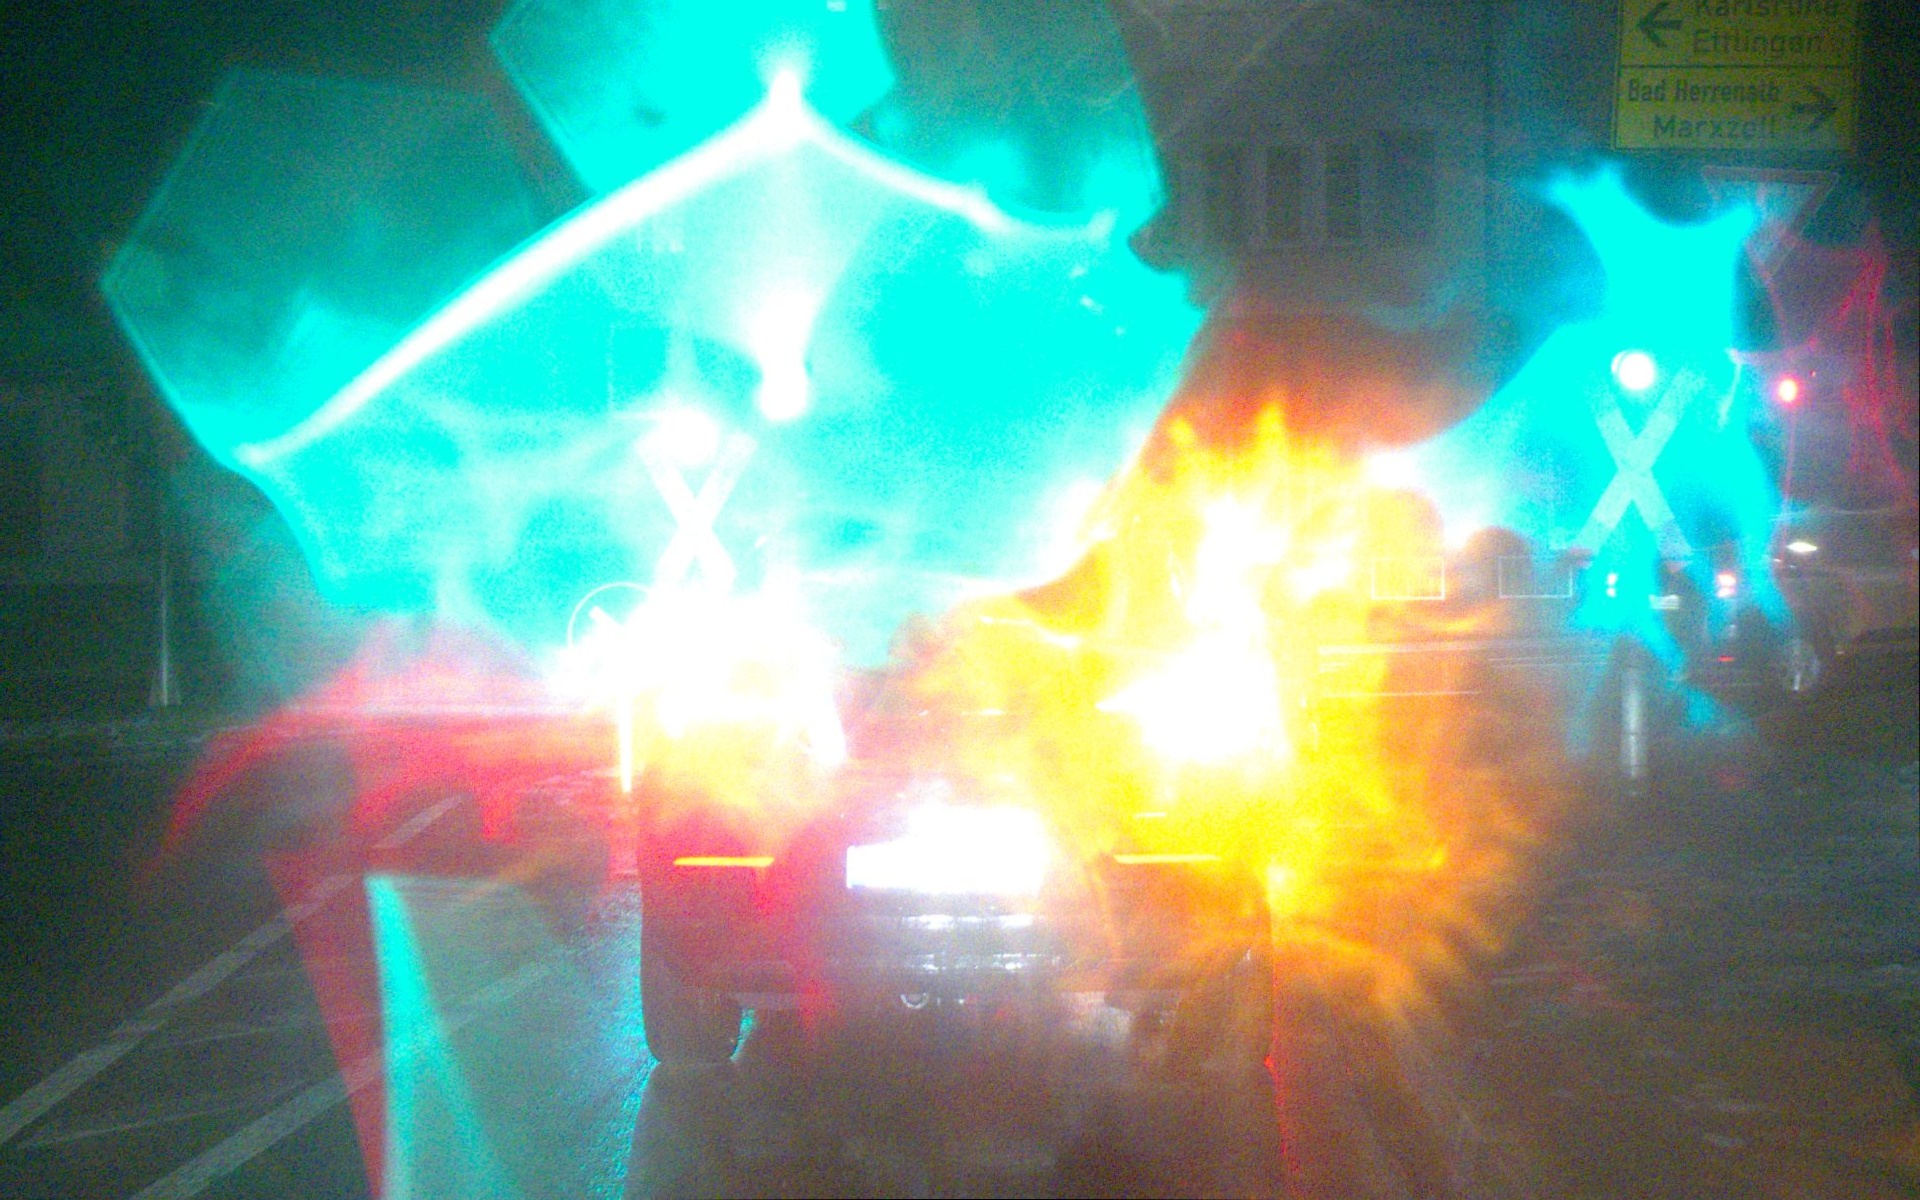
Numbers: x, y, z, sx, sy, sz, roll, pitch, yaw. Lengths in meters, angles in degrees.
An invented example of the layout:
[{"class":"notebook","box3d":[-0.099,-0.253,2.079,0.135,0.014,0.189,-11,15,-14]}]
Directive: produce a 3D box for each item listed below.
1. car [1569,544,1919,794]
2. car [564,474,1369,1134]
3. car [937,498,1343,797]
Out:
[{"class":"car","box3d":[7.547,0.608,29.829,4.240,1.940,1.777,2,3,-32]},{"class":"car","box3d":[-0.033,0.506,11.012,2.057,1.672,4.140,1,1,-1]},{"class":"car","box3d":[1.210,0.251,20.925,1.910,1.505,4.239,4,1,9]}]
